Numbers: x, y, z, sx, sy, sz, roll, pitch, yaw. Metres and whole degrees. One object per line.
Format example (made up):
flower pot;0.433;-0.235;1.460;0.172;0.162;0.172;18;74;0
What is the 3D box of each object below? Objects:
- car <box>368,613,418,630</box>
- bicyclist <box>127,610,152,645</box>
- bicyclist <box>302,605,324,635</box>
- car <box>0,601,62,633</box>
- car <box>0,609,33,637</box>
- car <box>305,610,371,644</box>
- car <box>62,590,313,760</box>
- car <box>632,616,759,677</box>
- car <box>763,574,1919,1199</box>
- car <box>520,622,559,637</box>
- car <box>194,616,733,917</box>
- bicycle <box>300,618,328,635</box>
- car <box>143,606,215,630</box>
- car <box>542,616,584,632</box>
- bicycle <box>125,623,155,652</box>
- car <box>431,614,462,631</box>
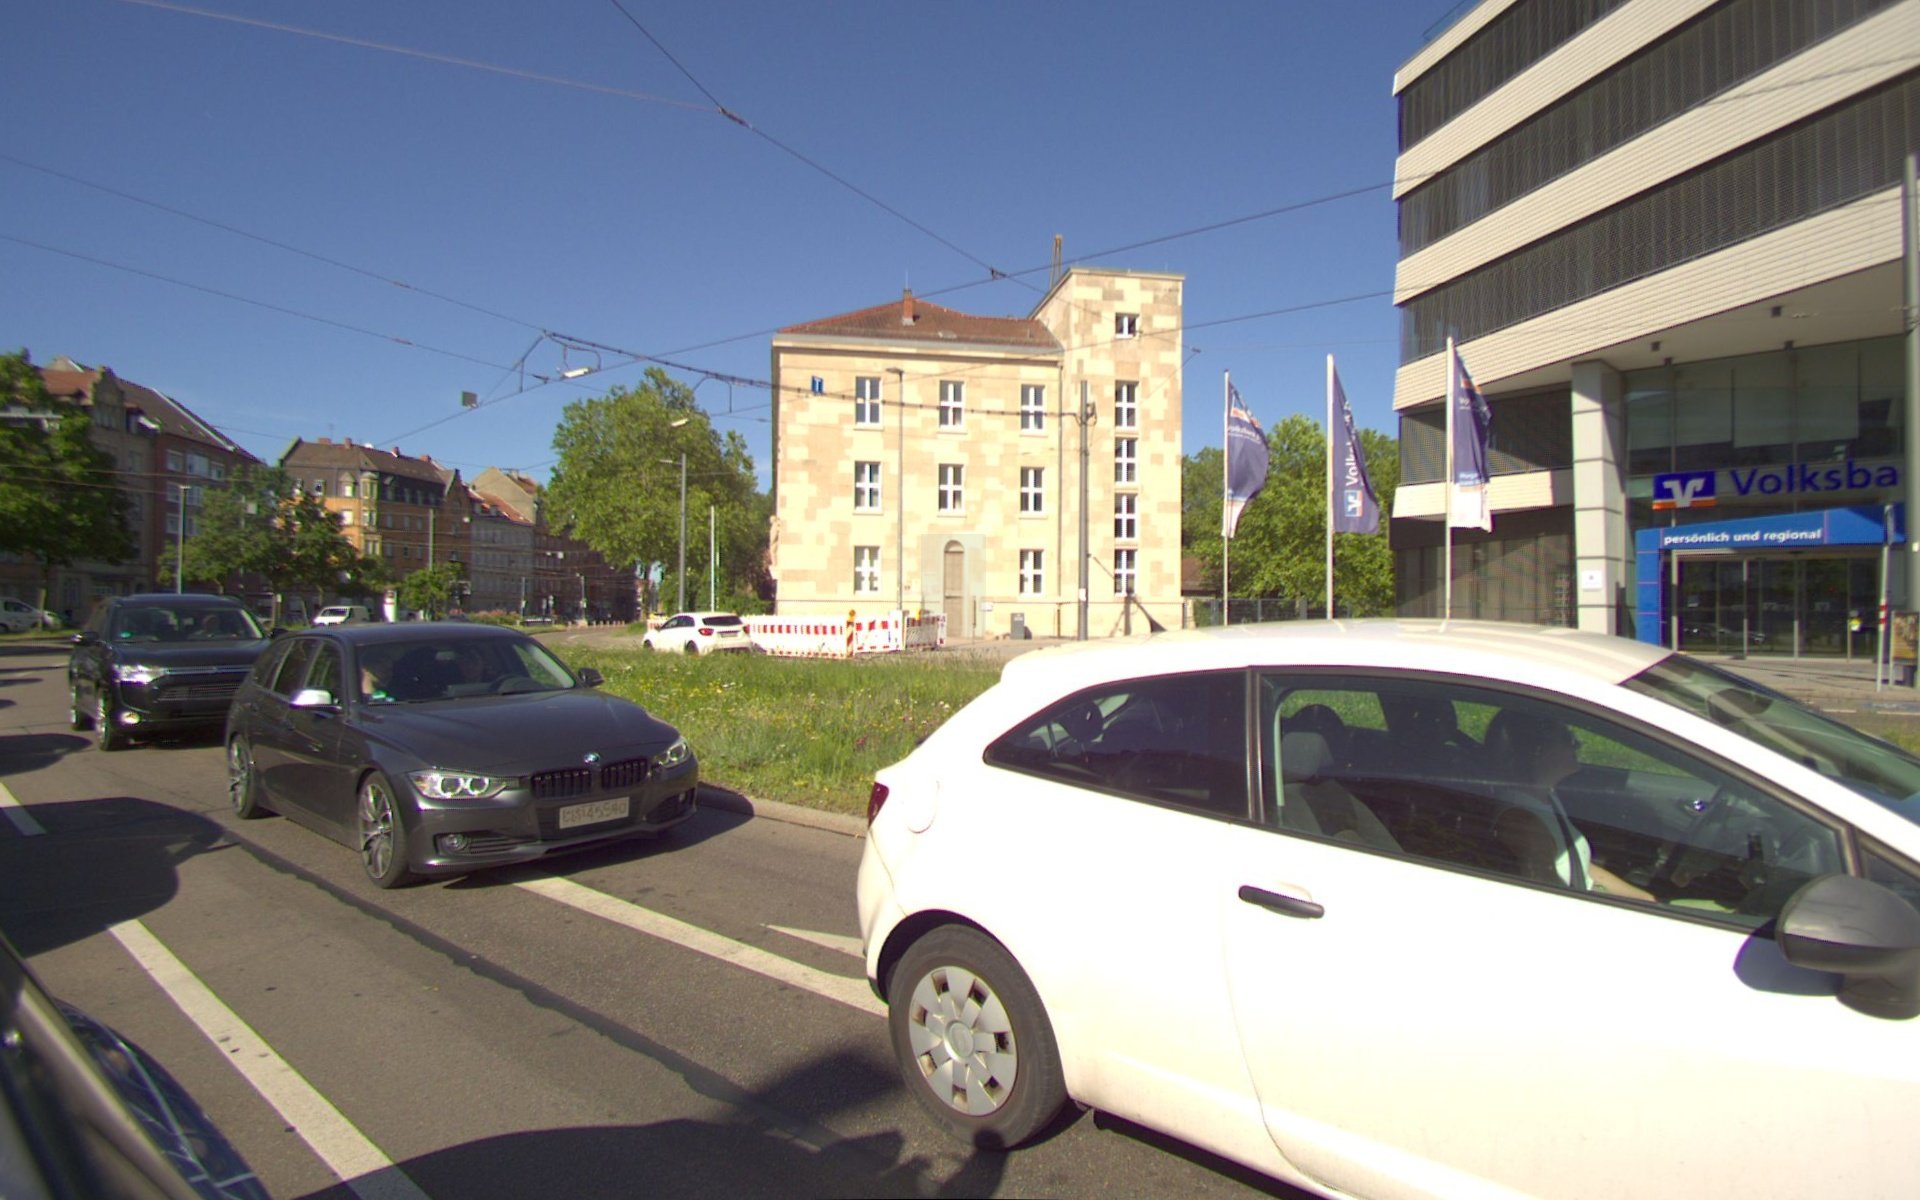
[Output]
car;-63.825;2.408;114.020;4.513;1.889;2.006;-1;0;-16
bicyclist;-39.982;1.330;49.315;0.723;1.707;0.974;1;-1;-28
bicyclist;-44.177;1.367;69.137;0.836;2.029;1.198;0;-1;-8
car;-49.922;0.884;52.794;4.514;1.680;1.601;2;-2;-43
car;-48.757;1.145;50.388;3.768;1.390;1.602;2;-2;-41
car;-40.660;1.768;66.325;1.952;2.101;4.721;1;-1;-8
car;-9.374;0.770;12.131;1.817;1.658;4.400;-1;-1;-45
car;-7.795;1.308;29.607;1.798;1.658;4.185;1;-2;-43
car;1.487;0.692;2.480;4.020;1.452;1.714;0;2;40
car;-49.637;3.486;119.458;4.001;1.669;1.772;1;-1;-16
car;-3.592;0.825;6.880;4.424;1.377;1.719;-1;0;41
bicycle;-44.176;1.825;69.211;0.752;1.153;2.287;0;-1;-9
car;-53.922;1.265;69.876;3.771;1.603;1.601;2;-2;-44
car;-45.185;2.713;115.208;4.013;1.669;1.766;1;-1;0
bicycle;-40.076;1.801;49.466;0.724;1.371;2.082;1;-1;-28
car;-45.966;1.977;90.648;1.809;1.483;4.728;1;-1;-19
